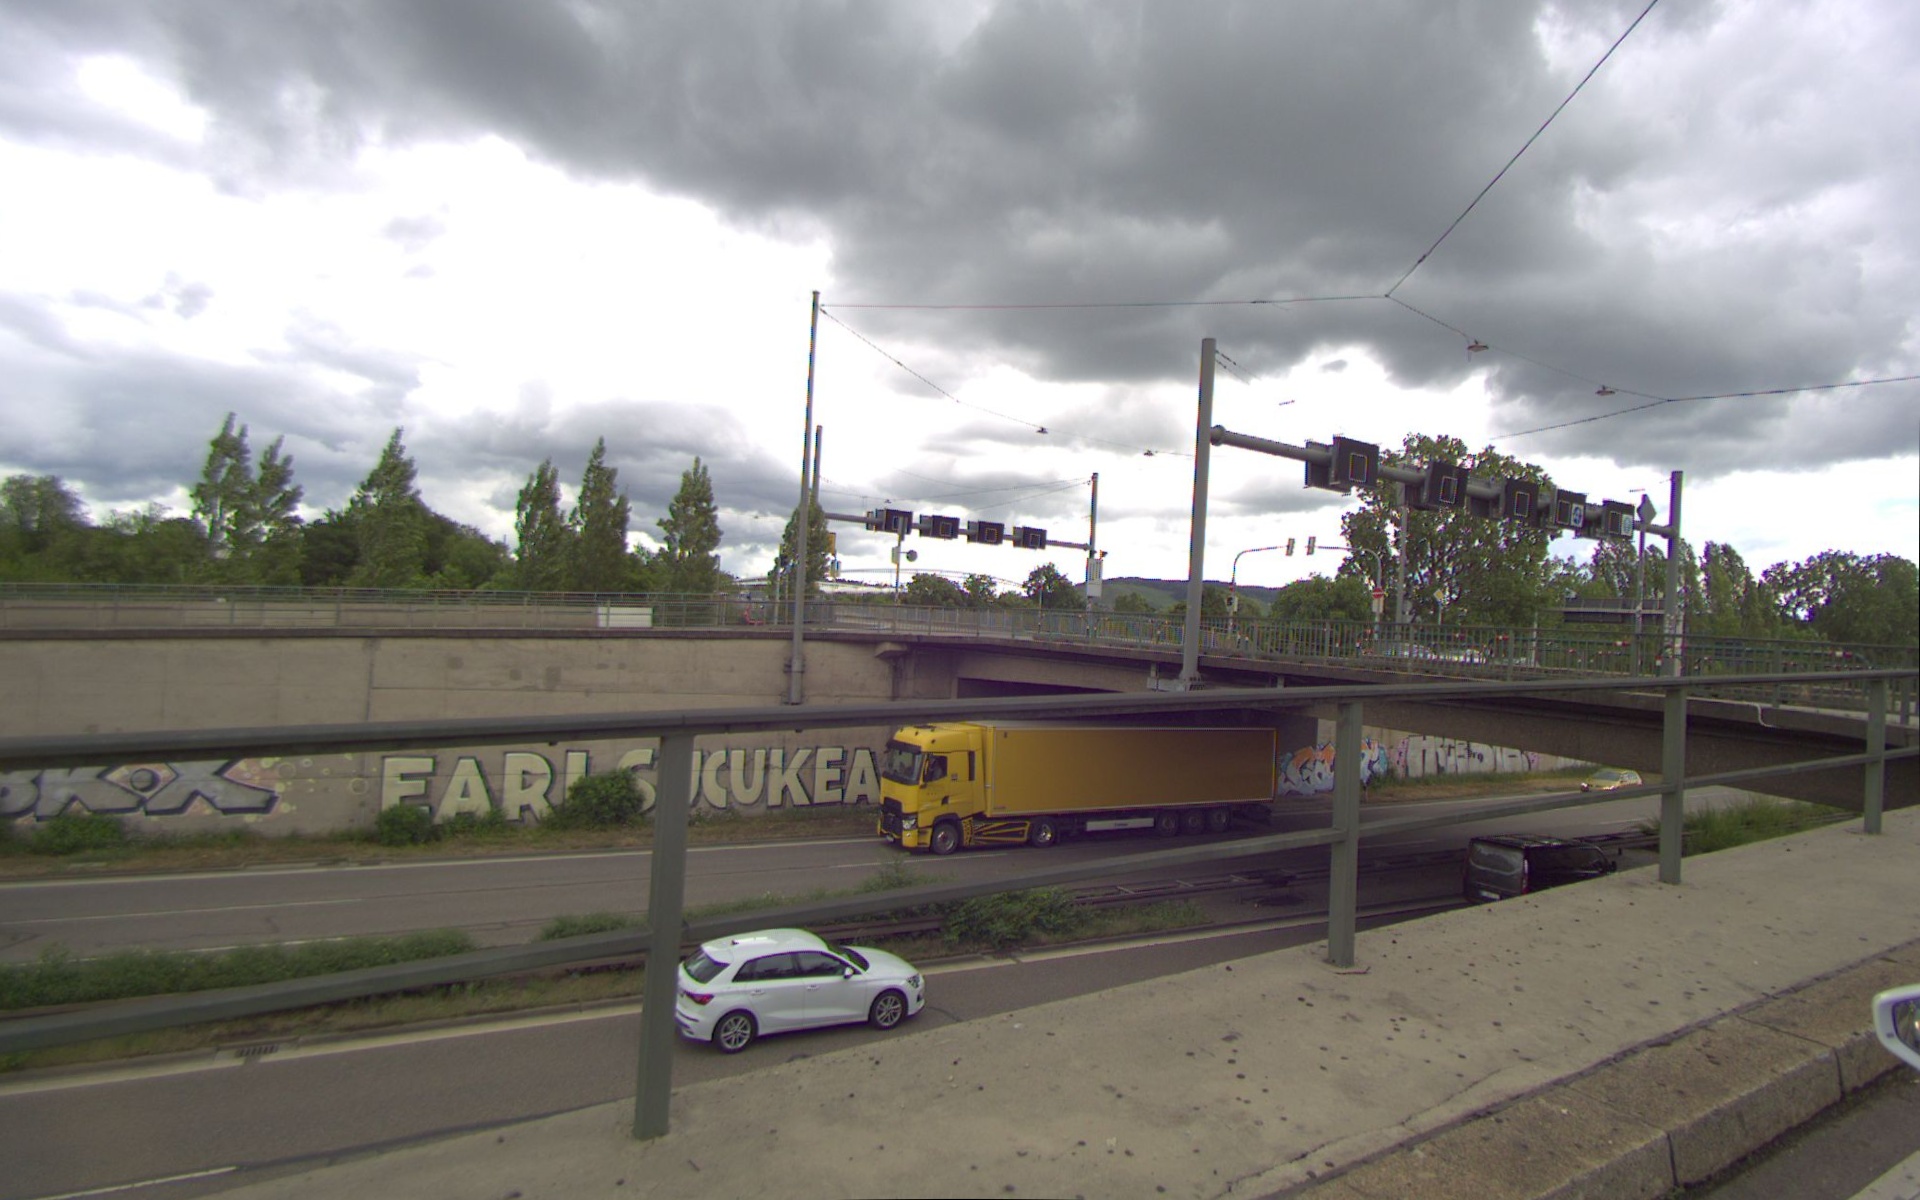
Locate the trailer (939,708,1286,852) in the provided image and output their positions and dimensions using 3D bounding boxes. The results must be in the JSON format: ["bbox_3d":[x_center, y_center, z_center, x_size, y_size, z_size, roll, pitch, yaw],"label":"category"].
[{"bbox_3d":[5.966,6.367,36.846,13.525,4.317,3.225,5,-3,-31],"label":"trailer"}]

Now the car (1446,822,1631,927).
[{"bbox_3d":[15.869,7.388,27.487,5.191,2.040,1.985,4,-2,-29],"label":"car"}]

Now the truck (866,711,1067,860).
[{"bbox_3d":[0.238,5.971,33.388,5.738,4.236,3.225,4,-3,-31],"label":"truck"}]

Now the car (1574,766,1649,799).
[{"bbox_3d":[36.387,10.142,56.062,4.106,1.476,1.859,4,-3,-30],"label":"car"}]

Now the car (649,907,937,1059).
[{"bbox_3d":[-2.702,6.198,16.593,4.363,1.440,1.611,4,-3,-29],"label":"car"}]

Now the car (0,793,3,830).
[{"bbox_3d":[-21.394,4.880,17.304,6.634,2.661,1.985,4,-4,-29],"label":"car"}]
